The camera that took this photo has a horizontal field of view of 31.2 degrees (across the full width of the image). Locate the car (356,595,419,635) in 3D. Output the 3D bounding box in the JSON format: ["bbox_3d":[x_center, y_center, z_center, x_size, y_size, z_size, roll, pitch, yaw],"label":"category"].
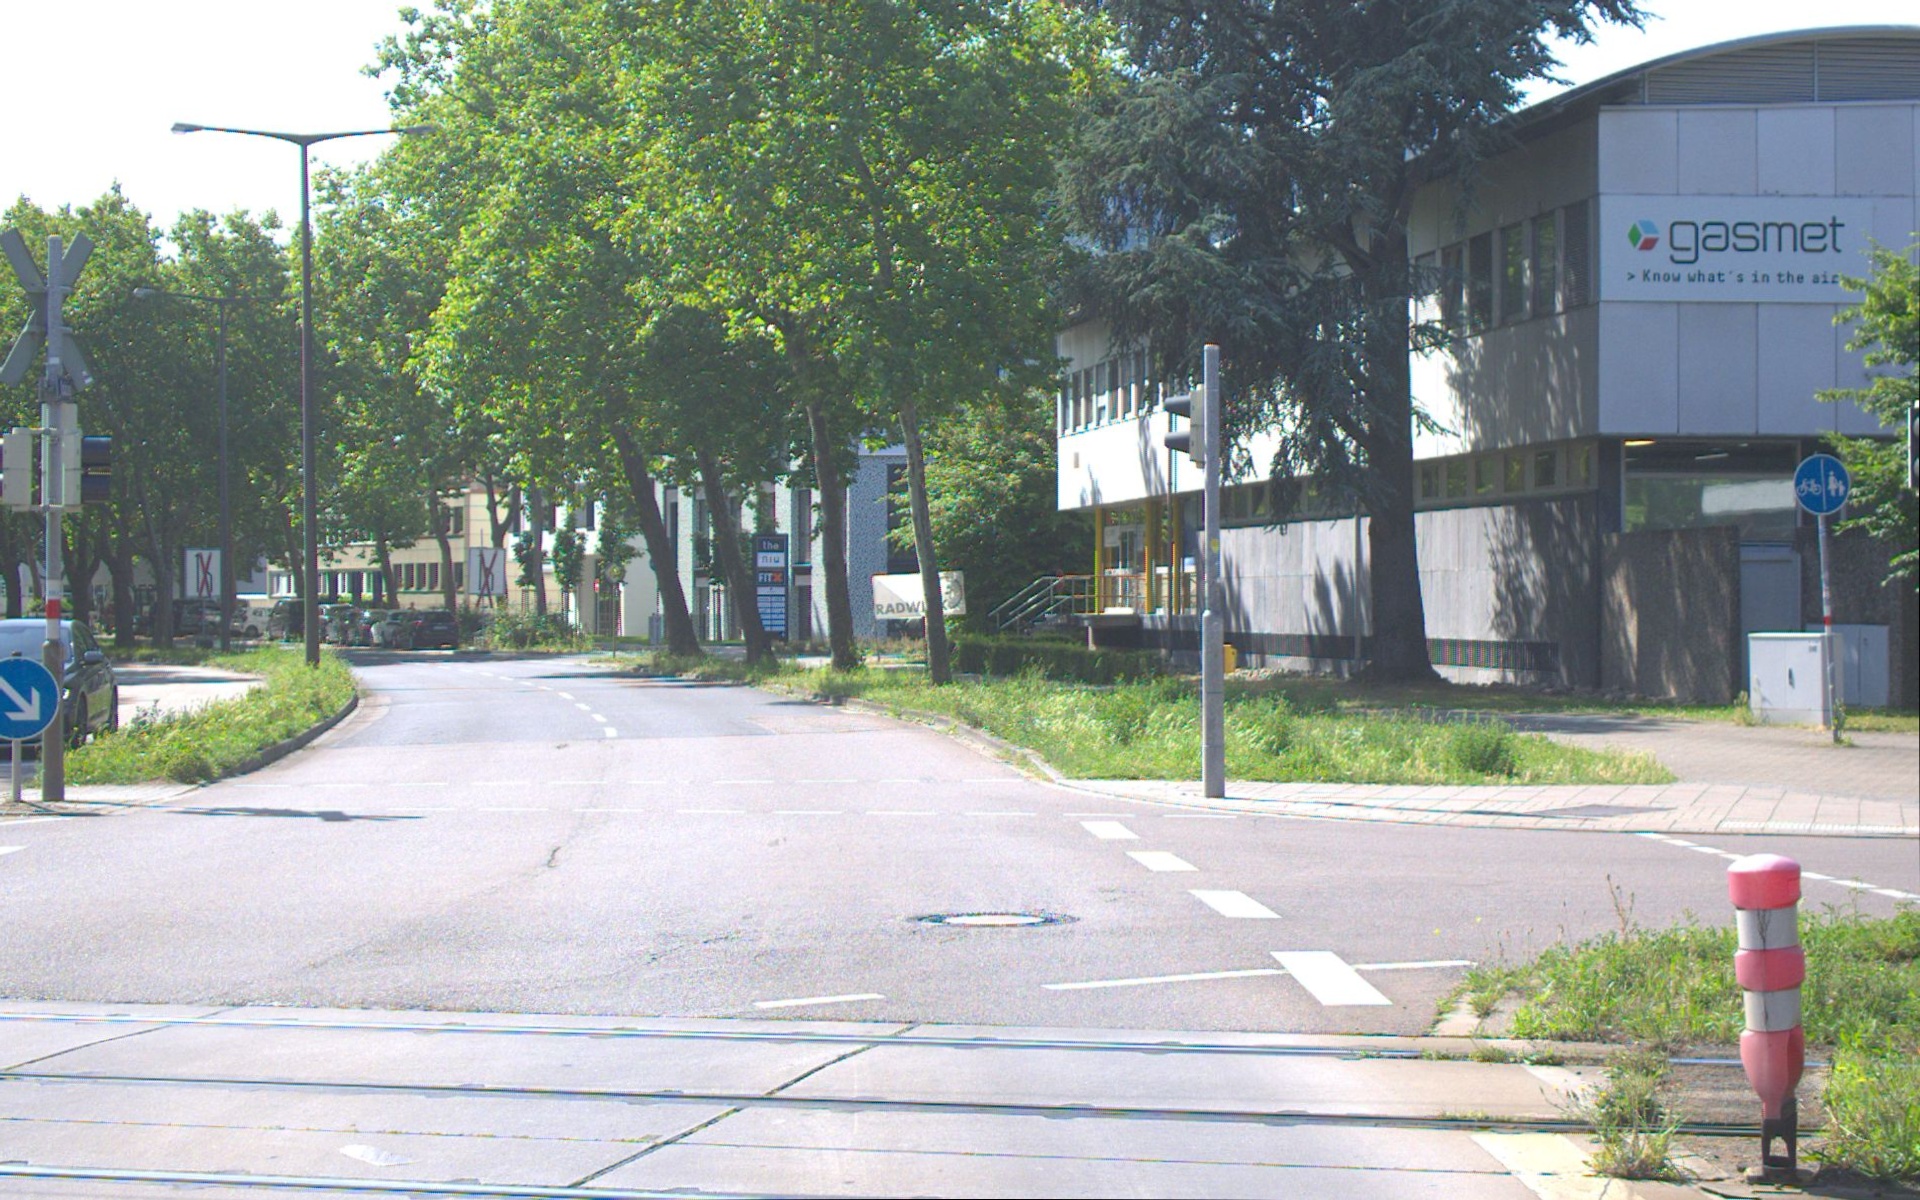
[{"bbox_3d":[-21.972,0.561,131.886,1.706,1.482,4.102,-1,0,-19],"label":"car"}]

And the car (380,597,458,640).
[{"bbox_3d":[-19.983,0.667,126.819,1.706,1.482,4.720,-2,1,-23],"label":"car"}]

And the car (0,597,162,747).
[{"bbox_3d":[-9.926,0.731,36.897,1.694,1.503,4.129,0,0,1],"label":"car"}]

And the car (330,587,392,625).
[{"bbox_3d":[-23.894,0.237,137.033,1.706,1.450,4.657,-1,1,-19],"label":"car"}]

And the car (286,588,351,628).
[{"bbox_3d":[-27.742,0.326,148.586,1.706,1.664,4.534,-1,1,-24],"label":"car"}]
